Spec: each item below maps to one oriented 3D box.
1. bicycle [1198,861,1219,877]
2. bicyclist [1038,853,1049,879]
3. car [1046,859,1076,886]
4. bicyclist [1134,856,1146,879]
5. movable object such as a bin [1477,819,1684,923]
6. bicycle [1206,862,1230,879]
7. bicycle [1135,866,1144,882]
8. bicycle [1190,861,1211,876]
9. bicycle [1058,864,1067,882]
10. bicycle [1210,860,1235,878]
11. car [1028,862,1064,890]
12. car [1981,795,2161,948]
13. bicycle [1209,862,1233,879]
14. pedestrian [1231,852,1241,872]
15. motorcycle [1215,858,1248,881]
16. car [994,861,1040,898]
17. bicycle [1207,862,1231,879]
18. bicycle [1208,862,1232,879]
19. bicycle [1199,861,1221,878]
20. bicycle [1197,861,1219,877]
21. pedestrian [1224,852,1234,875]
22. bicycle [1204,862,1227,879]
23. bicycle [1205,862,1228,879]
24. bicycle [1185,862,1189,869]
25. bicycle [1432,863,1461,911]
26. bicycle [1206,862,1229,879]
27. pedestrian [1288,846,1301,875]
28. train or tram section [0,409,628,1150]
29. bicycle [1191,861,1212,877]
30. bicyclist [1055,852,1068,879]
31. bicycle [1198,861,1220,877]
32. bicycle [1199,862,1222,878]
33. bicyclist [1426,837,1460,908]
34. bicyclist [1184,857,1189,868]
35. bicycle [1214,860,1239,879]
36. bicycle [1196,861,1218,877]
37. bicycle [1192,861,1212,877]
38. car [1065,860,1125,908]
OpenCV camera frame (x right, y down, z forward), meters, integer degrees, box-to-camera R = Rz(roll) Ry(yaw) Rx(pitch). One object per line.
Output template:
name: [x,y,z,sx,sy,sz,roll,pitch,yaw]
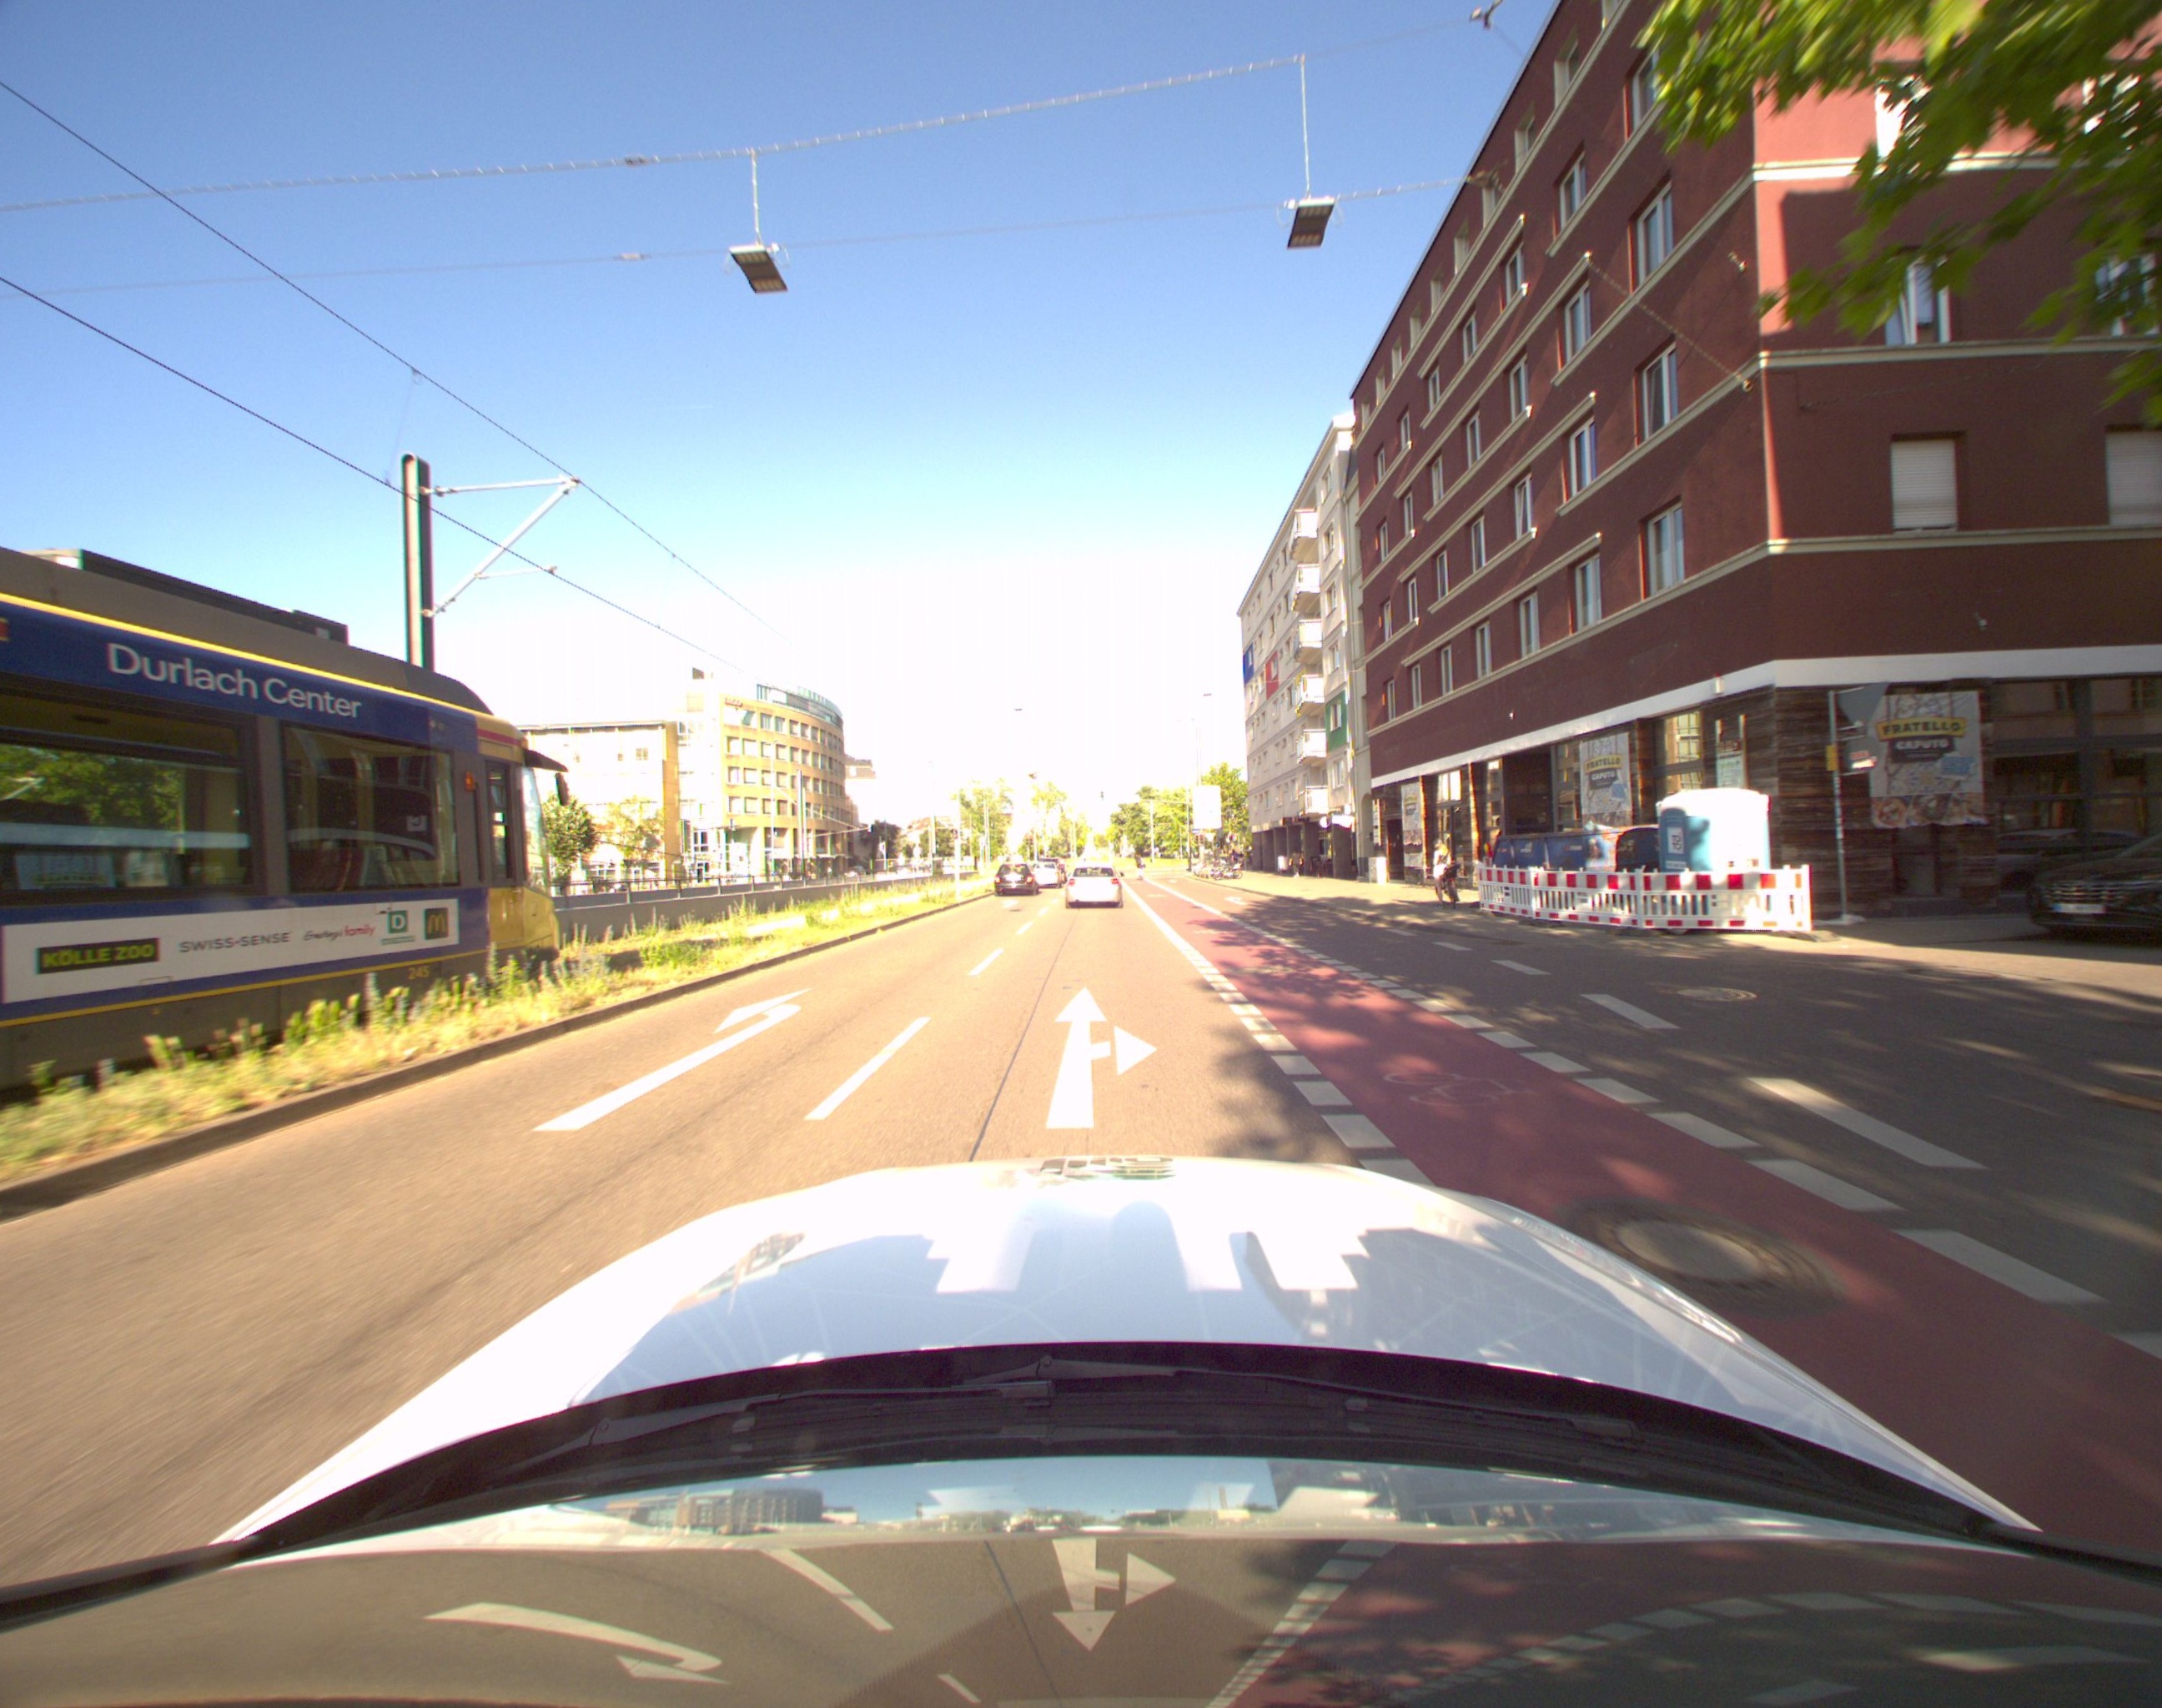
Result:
bicycle: [9.045,1.074,57.762,1.459,1.067,0.257,-3,-1,3]
bicyclist: [-2.282,0.704,49.267,0.614,1.572,0.687,0,-1,3]
car: [-1.263,1.148,52.692,1.698,1.622,4.001,-1,0,1]
bicyclist: [3.989,0.893,55.366,0.782,1.531,0.895,0,-1,1]
movable object such as a bin: [10.095,0.296,16.791,1.942,1.843,3.475,-2,0,-4]
bicycle: [9.040,1.079,53.663,1.459,1.067,0.257,-3,-1,3]
bicycle: [3.970,1.369,55.370,0.497,1.088,1.997,0,-1,2]
bicycle: [8.927,1.101,60.829,1.459,1.067,0.257,-3,-1,3]
bicycle: [-1.136,1.148,49.451,0.338,1.056,1.773,-1,0,-8]
bicycle: [9.012,0.983,51.832,1.459,1.067,0.257,-3,-1,3]
car: [-1.844,1.153,43.626,1.638,1.421,4.001,-1,-1,1]
car: [14.844,0.197,10.452,4.284,1.788,1.995,-1,-2,1]
bicycle: [9.015,1.059,52.623,1.459,1.067,0.257,-3,-1,3]
pedestrian: [14.043,0.738,73.809,0.819,1.856,0.921,0,-1,16]
motorcycle: [8.974,0.912,48.665,1.846,1.301,0.653,-3,-1,4]
car: [-2.728,1.087,35.597,1.721,1.470,4.408,-1,-1,-1]
bicycle: [9.035,1.065,53.341,1.459,1.067,0.257,-3,-1,3]
bicycle: [9.026,1.068,52.996,1.459,1.067,0.257,-3,-1,3]
bicycle: [8.967,1.072,56.670,1.459,1.067,0.257,-3,-1,3]
bicycle: [9.042,1.088,58.110,1.459,1.067,0.257,-3,-1,3]
pedestrian: [13.100,0.821,72.147,0.786,2.014,0.872,0,-1,8]
bicycle: [9.011,1.089,54.731,1.459,1.067,0.257,-3,-1,3]
bicycle: [9.022,1.075,54.388,1.459,1.067,0.257,-3,-1,3]
bicycle: [13.961,1.543,107.143,0.350,0.958,1.574,0,-1,3]
bicycle: [8.896,0.776,19.865,0.315,1.085,1.691,-2,0,14]
bicycle: [9.043,1.090,54.042,1.459,1.067,0.257,-3,-1,3]
pedestrian: [12.010,0.361,45.863,0.570,1.582,0.557,-1,-1,1]
train or tram section: [-7.146,-0.389,4.516,2.942,3.897,10.805,0,-1,2]
bicycle: [8.926,1.103,60.384,1.459,1.067,0.257,-3,-1,3]
bicyclist: [-1.183,0.696,49.478,0.616,1.572,0.684,-1,-1,-10]
bicycle: [9.028,1.083,57.421,1.459,1.067,0.257,-3,-1,3]
bicycle: [8.968,1.091,56.347,1.459,1.067,0.257,-3,-1,3]
bicyclist: [8.829,0.441,19.891,0.597,1.690,0.599,-2,-1,12]
bicyclist: [13.929,1.118,107.103,0.614,1.380,0.687,0,-1,3]
bicycle: [9.041,0.958,50.547,1.459,1.067,0.257,-3,-1,3]
bicycle: [9.055,1.075,58.446,1.459,1.067,0.257,-3,-1,3]
bicycle: [8.916,1.107,60.013,1.459,1.067,0.257,-3,-1,3]
car: [0.467,0.913,26.390,1.791,1.415,4.001,-1,0,1]
